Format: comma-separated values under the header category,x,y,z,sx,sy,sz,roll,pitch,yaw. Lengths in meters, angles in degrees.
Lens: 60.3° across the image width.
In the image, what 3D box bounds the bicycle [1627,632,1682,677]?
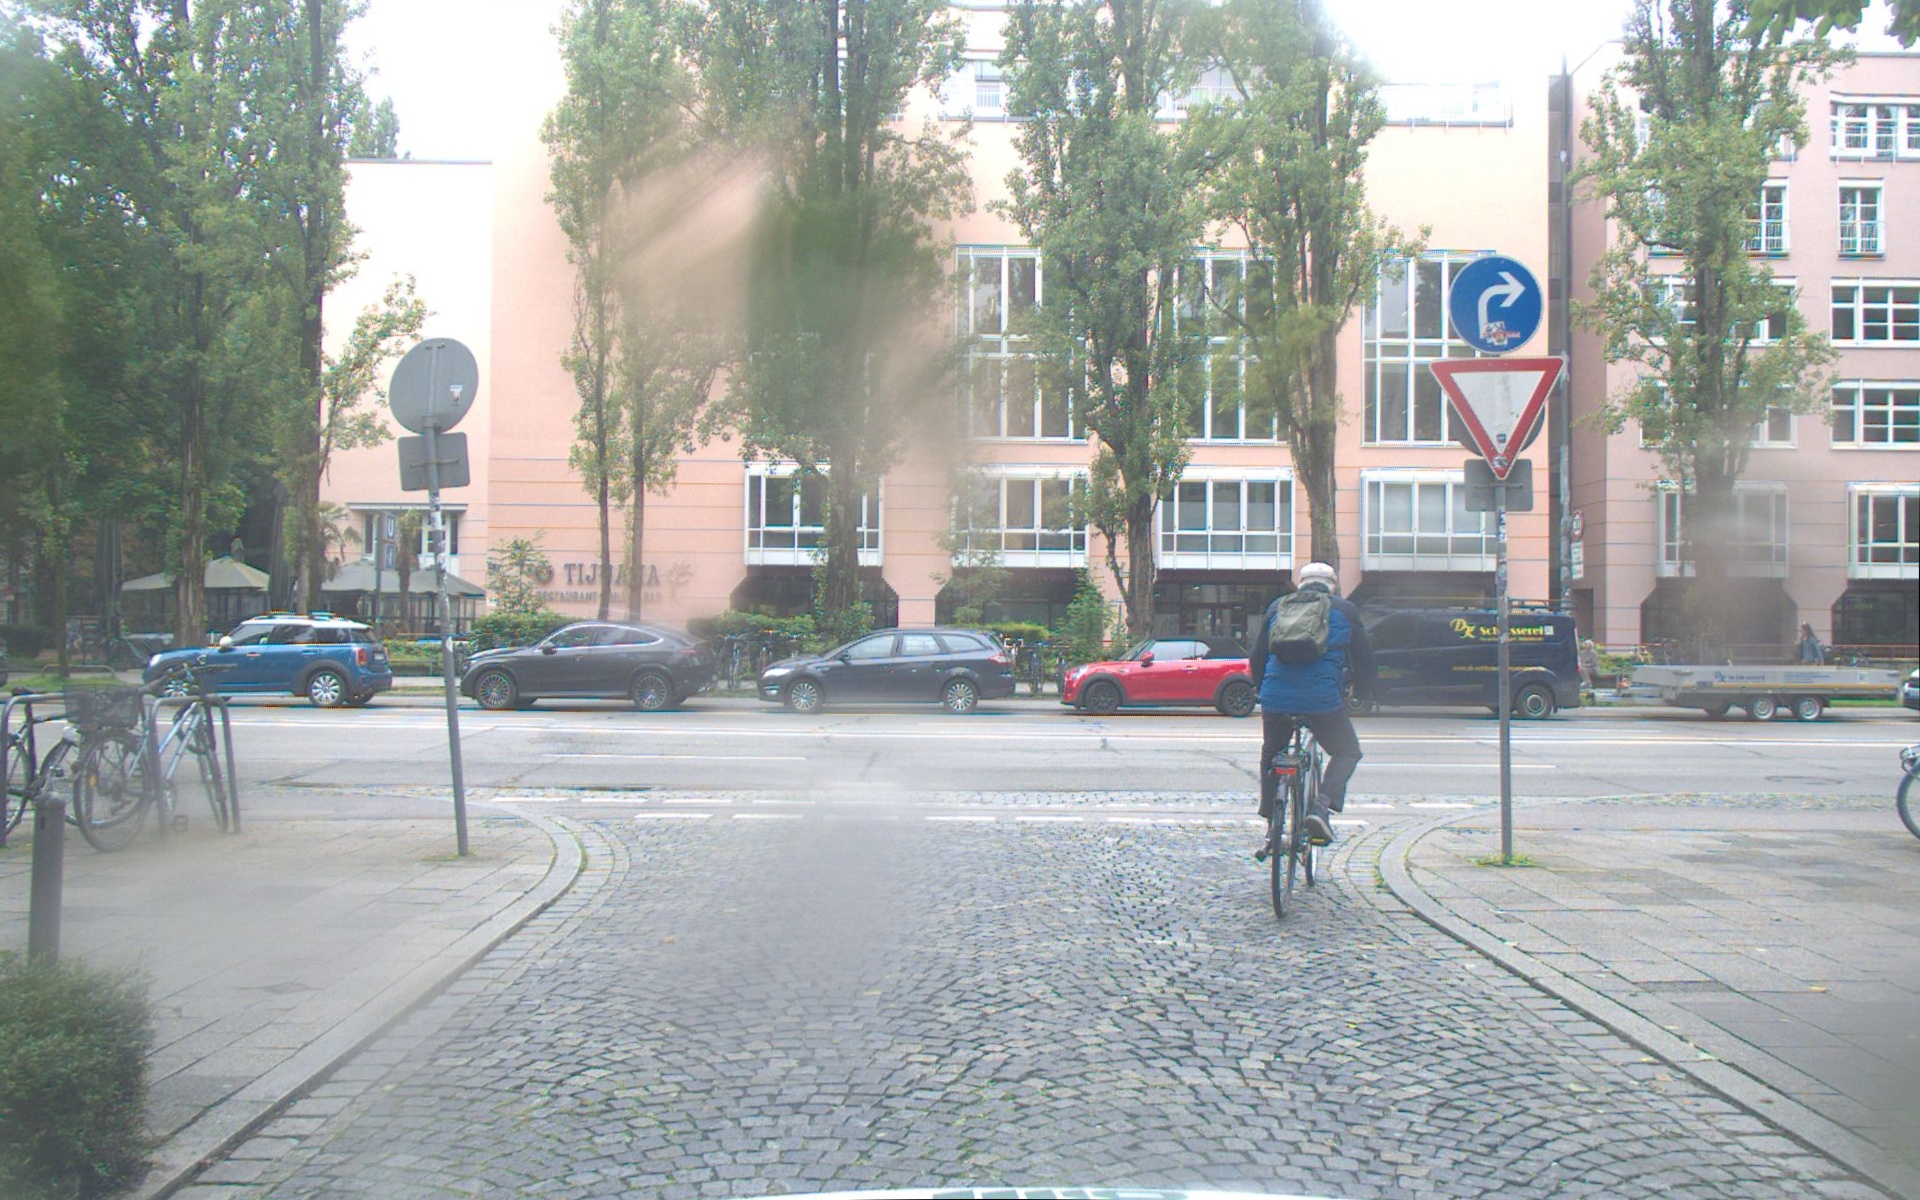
category,x,y,z,sx,sy,sz,roll,pitch,yaw
bicycle,18.508,1.437,44.124,0.660,1.144,1.989,0,-1,0

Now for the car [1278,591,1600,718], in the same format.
category,x,y,z,sx,sy,sz,roll,pitch,yaw
car,8.732,0.981,30.510,5.367,2.236,2.023,0,-1,0

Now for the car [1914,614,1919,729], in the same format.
category,x,y,z,sx,sy,sz,roll,pitch,yaw
car,17.027,1.077,24.445,4.701,1.752,2.000,0,-2,0

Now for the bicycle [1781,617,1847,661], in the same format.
category,x,y,z,sx,sy,sz,roll,pitch,yaw
bicycle,22.616,1.015,43.838,0.660,1.144,2.107,0,-1,0

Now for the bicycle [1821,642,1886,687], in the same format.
category,x,y,z,sx,sy,sz,roll,pitch,yaw
bicycle,23.730,1.705,43.954,0.660,1.144,1.989,0,-1,0

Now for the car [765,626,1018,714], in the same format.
category,x,y,z,sx,sy,sz,roll,pitch,yaw
car,-1.218,1.262,30.440,4.514,1.556,1.793,0,-1,0

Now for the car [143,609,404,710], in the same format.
category,x,y,z,sx,sy,sz,roll,pitch,yaw
car,-12.476,1.093,30.256,3.983,1.762,1.792,0,-2,-2

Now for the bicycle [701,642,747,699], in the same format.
category,x,y,z,sx,sy,sz,roll,pitch,yaw
bicycle,-4.921,1.458,34.529,0.660,1.144,1.989,0,-1,0

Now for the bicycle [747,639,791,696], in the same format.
category,x,y,z,sx,sy,sz,roll,pitch,yaw
bicycle,-4.006,1.396,34.802,0.660,1.144,1.989,0,-1,0

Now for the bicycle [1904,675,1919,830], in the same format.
category,x,y,z,sx,sy,sz,roll,pitch,yaw
bicycle,6.878,1.060,10.740,0.464,1.069,1.877,0,0,1

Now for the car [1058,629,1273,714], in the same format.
category,x,y,z,sx,sy,sz,roll,pitch,yaw
car,3.700,1.288,30.273,3.780,1.474,1.678,0,-1,2

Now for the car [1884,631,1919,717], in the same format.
category,x,y,z,sx,sy,sz,roll,pitch,yaw
car,19.530,1.348,30.337,4.133,1.569,1.806,0,-2,2

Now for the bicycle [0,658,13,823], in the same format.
category,x,y,z,sx,sy,sz,roll,pitch,yaw
bicycle,-6.808,0.938,10.349,0.480,1.112,1.985,0,-1,5

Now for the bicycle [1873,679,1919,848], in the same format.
category,x,y,z,sx,sy,sz,roll,pitch,yaw
bicycle,6.383,1.035,10.061,0.465,1.069,1.874,0,-1,-5

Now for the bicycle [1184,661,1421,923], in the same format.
category,x,y,z,sx,sy,sz,roll,pitch,yaw
bicycle,1.825,0.917,8.582,0.703,1.168,1.897,0,-2,28

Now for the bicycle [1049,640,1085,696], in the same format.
category,x,y,z,sx,sy,sz,roll,pitch,yaw
bicycle,2.233,1.413,34.712,0.660,1.144,1.742,0,-1,0

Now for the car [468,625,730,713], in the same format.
category,x,y,z,sx,sy,sz,roll,pitch,yaw
car,-6.564,1.250,30.428,4.407,1.556,1.793,0,-1,0

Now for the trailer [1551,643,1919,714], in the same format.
category,x,y,z,sx,sy,sz,roll,pitch,yaw
trailer,14.324,1.428,30.667,5.894,1.220,2.405,0,-1,0

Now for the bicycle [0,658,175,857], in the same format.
category,x,y,z,sx,sy,sz,roll,pitch,yaw
bicycle,-5.671,0.943,10.445,0.480,1.112,1.704,0,-1,5

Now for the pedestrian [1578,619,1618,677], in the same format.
category,x,y,z,sx,sy,sz,roll,pitch,yaw
pedestrian,15.635,1.168,40.553,0.714,1.393,0.709,0,-1,1

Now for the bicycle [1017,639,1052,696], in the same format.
category,x,y,z,sx,sy,sz,roll,pitch,yaw
bicycle,1.551,1.408,34.697,0.660,1.144,1.742,0,-1,0

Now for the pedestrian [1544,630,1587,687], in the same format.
category,x,y,z,sx,sy,sz,roll,pitch,yaw
pedestrian,14.834,1.428,40.530,0.699,1.393,0.725,1,-1,-29

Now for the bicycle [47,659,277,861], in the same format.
category,x,y,z,sx,sy,sz,roll,pitch,yaw
bicycle,-4.905,0.943,10.291,0.480,1.112,1.704,0,-1,5

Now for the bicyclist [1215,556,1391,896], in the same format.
category,x,y,z,sx,sy,sz,roll,pitch,yaw
bicyclist,1.777,0.613,8.517,0.708,1.648,0.756,0,-1,27

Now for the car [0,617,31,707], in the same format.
category,x,y,z,sx,sy,sz,roll,pitch,yaw
car,-19.401,1.106,29.938,4.136,1.629,1.793,0,-1,0
